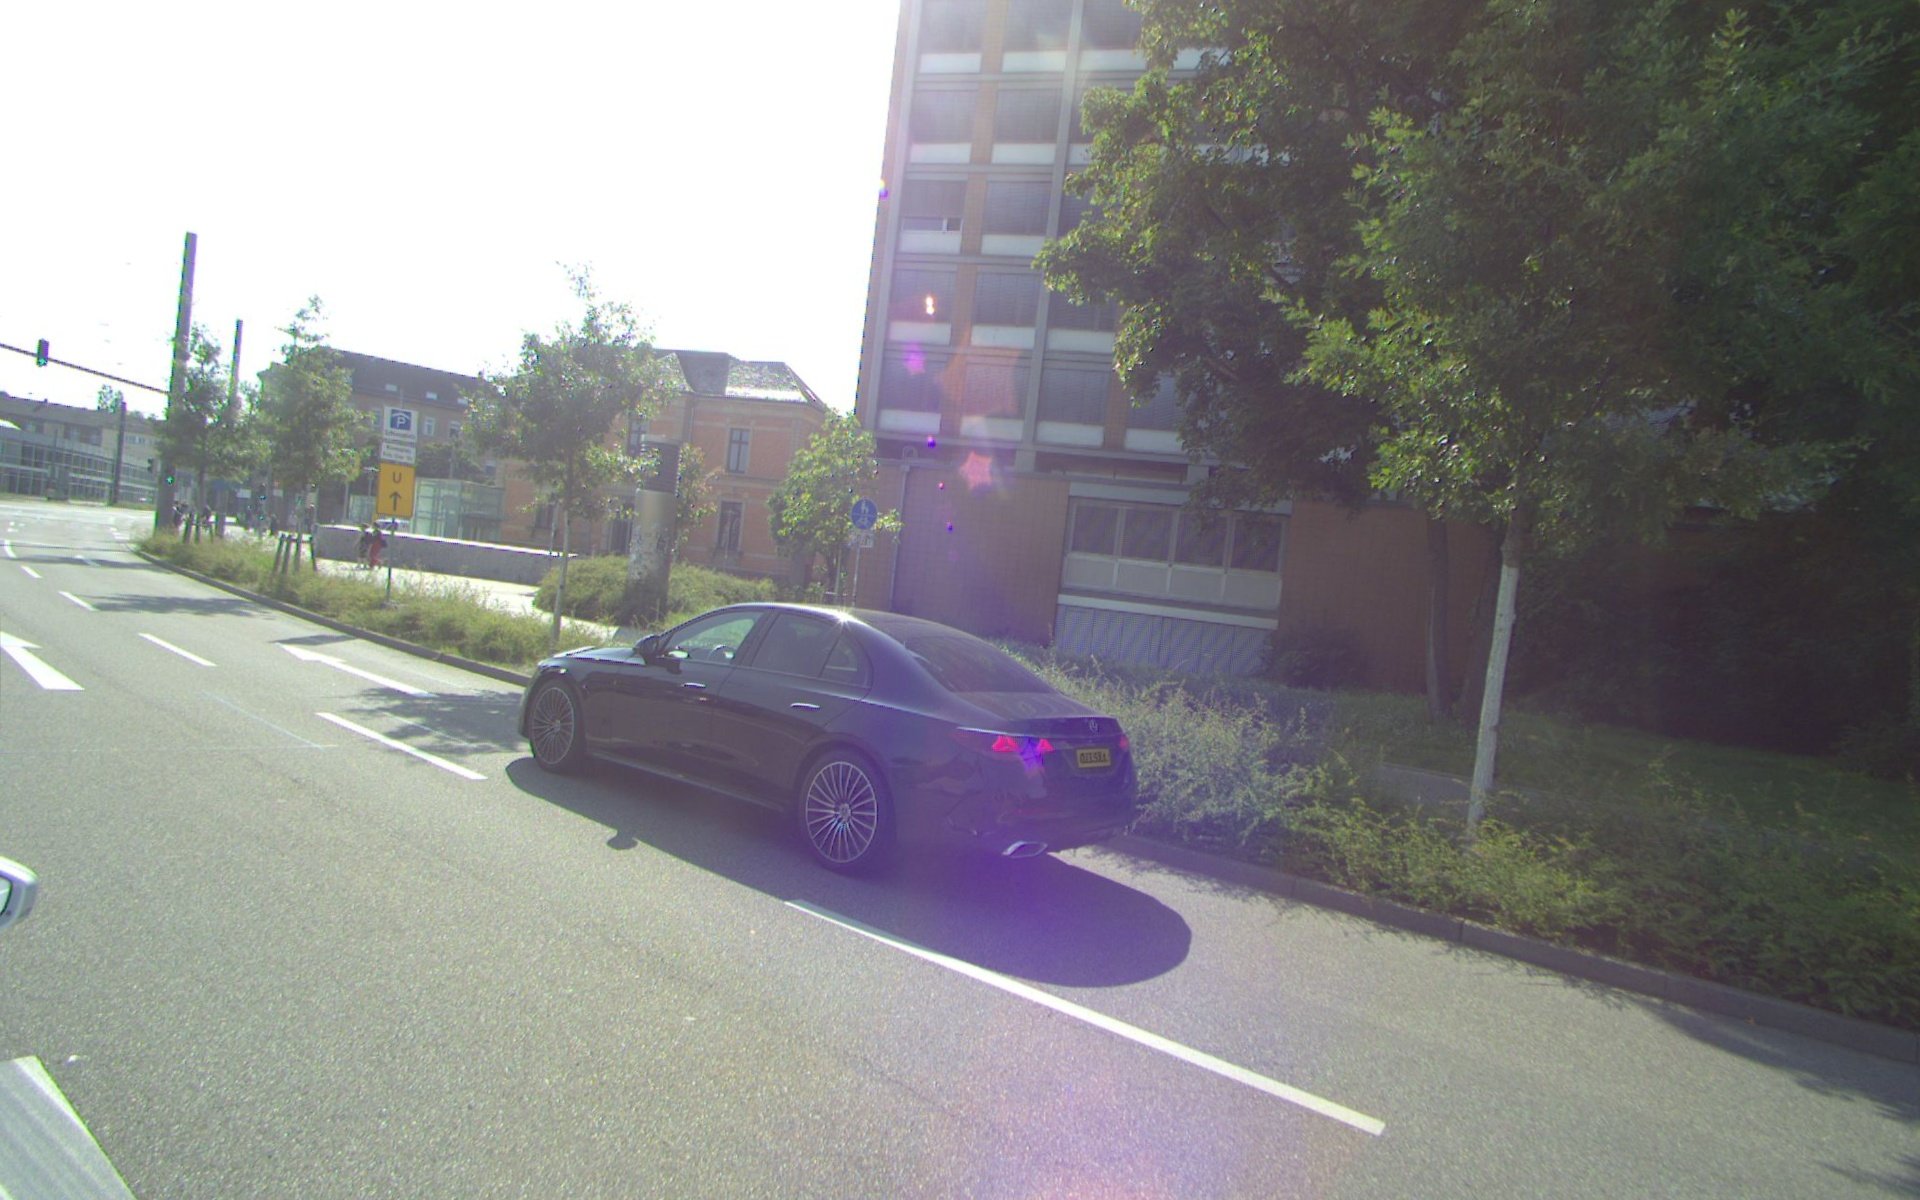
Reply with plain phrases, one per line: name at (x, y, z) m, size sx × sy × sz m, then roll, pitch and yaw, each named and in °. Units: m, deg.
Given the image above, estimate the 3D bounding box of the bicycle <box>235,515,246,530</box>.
bicycle at (-64.826, -6.950, 90.669) m, size 0.735 × 1.233 × 2.224 m, roll 6°, pitch 1°, yaw -35°

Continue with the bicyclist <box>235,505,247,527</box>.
bicyclist at (-64.744, -7.562, 90.627) m, size 0.742 × 1.852 × 0.799 m, roll 6°, pitch 1°, yaw -35°

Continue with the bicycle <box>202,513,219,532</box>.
bicycle at (-44.969, -4.654, 60.369) m, size 0.702 × 1.075 × 1.963 m, roll 6°, pitch 1°, yaw -35°

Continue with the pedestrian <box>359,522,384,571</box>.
pedestrian at (-21.016, -1.907, 35.958) m, size 0.609 × 1.649 × 0.530 m, roll 6°, pitch 1°, yaw -28°

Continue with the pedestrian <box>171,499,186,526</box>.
pedestrian at (-62.002, -6.933, 79.844) m, size 0.742 × 2.039 × 0.799 m, roll 6°, pitch 1°, yaw -35°

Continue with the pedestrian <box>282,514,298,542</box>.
pedestrian at (-47.875, -5.154, 71.859) m, size 0.799 × 1.913 × 0.741 m, roll 6°, pitch 1°, yaw -36°

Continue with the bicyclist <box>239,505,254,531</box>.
bicyclist at (-52.654, -6.027, 74.214) m, size 0.742 × 1.808 × 1.103 m, roll 6°, pitch 1°, yaw -35°

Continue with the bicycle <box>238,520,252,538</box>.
bicycle at (-52.755, -5.251, 74.226) m, size 0.742 × 1.163 × 2.839 m, roll 6°, pitch 1°, yaw -35°

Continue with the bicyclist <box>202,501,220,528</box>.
bicyclist at (-44.910, -5.128, 60.348) m, size 0.708 × 1.549 × 0.799 m, roll 6°, pitch 1°, yaw -35°

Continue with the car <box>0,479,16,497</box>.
car at (-89.911, -10.591, 92.658) m, size 1.962 × 1.460 × 4.000 m, roll 7°, pitch 0°, yaw 2°

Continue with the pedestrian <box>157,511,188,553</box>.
pedestrian at (-27.946, -2.420, 35.705) m, size 0.624 × 1.379 × 0.635 m, roll 7°, pitch 1°, yaw 38°

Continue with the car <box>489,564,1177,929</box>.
car at (-1.144, 0.750, 7.100) m, size 4.799 × 1.457 × 1.820 m, roll 7°, pitch -1°, yaw 37°

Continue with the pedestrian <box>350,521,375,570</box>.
pedestrian at (-20.927, -1.913, 35.254) m, size 0.609 × 1.660 × 0.530 m, roll 6°, pitch 1°, yaw -29°

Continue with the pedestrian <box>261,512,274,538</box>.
pedestrian at (-56.964, -6.155, 82.780) m, size 0.742 × 2.039 × 0.799 m, roll 6°, pitch 1°, yaw -35°

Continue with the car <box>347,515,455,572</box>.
car at (-25.727, -2.582, 46.445) m, size 1.721 × 2.039 × 3.998 m, roll 10°, pitch 1°, yaw 22°

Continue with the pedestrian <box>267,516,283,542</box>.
pedestrian at (-44.581, -4.616, 65.452) m, size 0.742 × 1.549 × 0.799 m, roll 6°, pitch 1°, yaw -35°

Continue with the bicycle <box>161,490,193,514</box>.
bicycle at (-38.718, -4.856, 49.725) m, size 2.119 × 0.988 × 0.771 m, roll 7°, pitch 0°, yaw 40°
